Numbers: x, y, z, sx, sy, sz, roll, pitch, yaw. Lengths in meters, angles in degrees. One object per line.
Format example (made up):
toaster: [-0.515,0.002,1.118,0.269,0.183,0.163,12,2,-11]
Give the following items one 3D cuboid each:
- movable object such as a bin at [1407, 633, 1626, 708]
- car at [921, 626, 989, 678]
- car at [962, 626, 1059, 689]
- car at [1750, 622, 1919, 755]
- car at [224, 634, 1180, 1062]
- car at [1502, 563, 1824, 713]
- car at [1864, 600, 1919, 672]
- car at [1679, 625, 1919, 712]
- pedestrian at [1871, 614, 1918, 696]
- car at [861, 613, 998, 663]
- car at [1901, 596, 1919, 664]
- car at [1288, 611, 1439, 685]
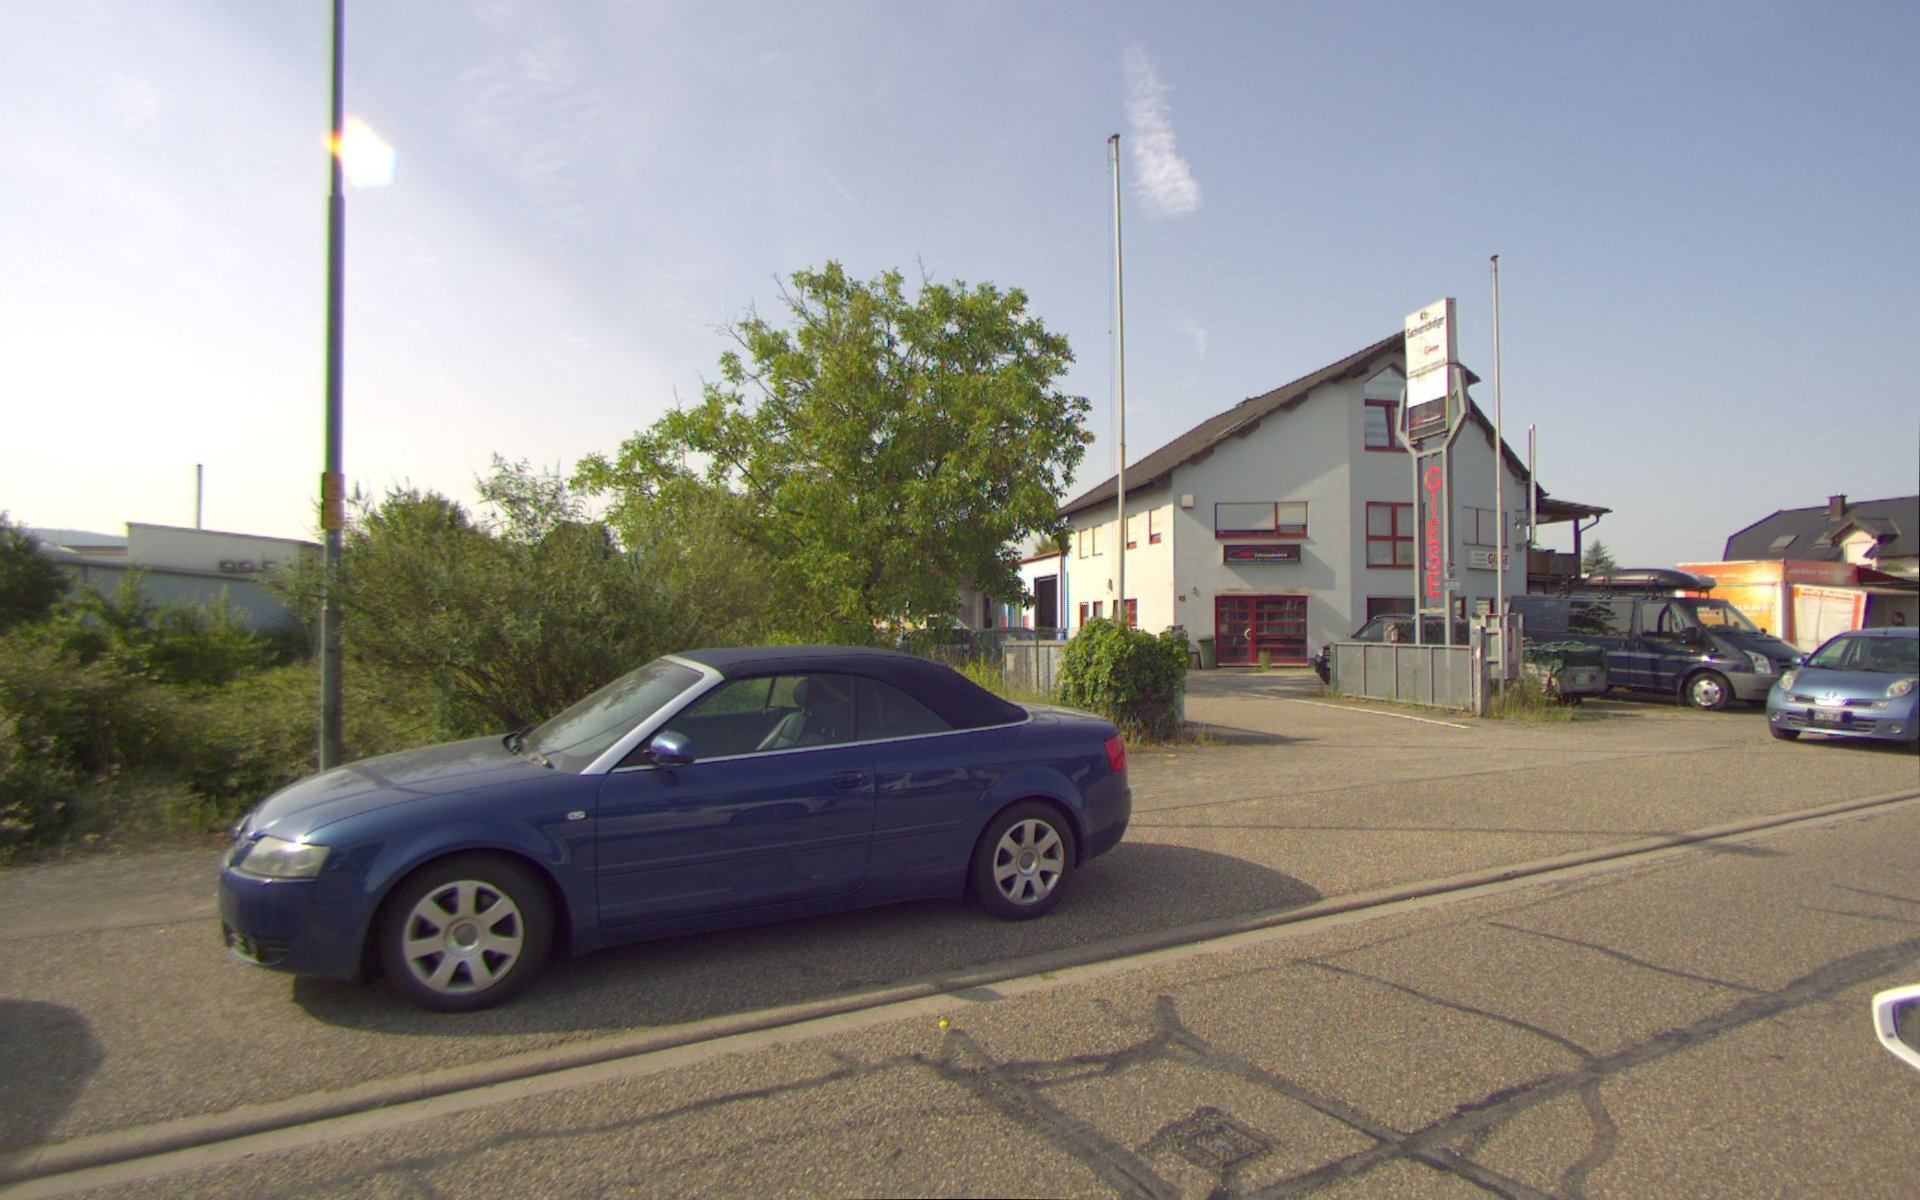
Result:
movable object such as a bin: [10.376,1.262,18.963,1.735,1.162,3.319,0,0,-20]
car: [-0.208,1.497,30.053,1.424,1.451,3.487,0,-1,-11]
car: [1.157,1.344,24.327,1.632,1.408,3.229,0,-1,-11]
car: [12.427,1.089,13.389,3.558,1.537,1.627,1,0,-27]
car: [-1.044,0.914,5.243,4.317,1.406,1.626,1,0,-30]
car: [13.004,0.693,18.957,1.974,2.448,4.611,1,-2,-26]
car: [35.852,1.280,36.039,2.106,2.620,4.813,0,-2,-8]
car: [16.413,1.243,19.549,1.742,1.433,3.568,1,0,-32]
pedestrian: [20.229,1.184,21.753,0.553,1.737,0.534,-1,-2,23]
car: [-1.216,1.539,40.425,5.175,1.940,1.844,-1,-2,19]
car: [38.807,1.084,37.278,2.529,2.620,5.168,0,-2,-8]
car: [9.739,1.131,24.243,3.431,1.683,1.540,1,-2,-28]
